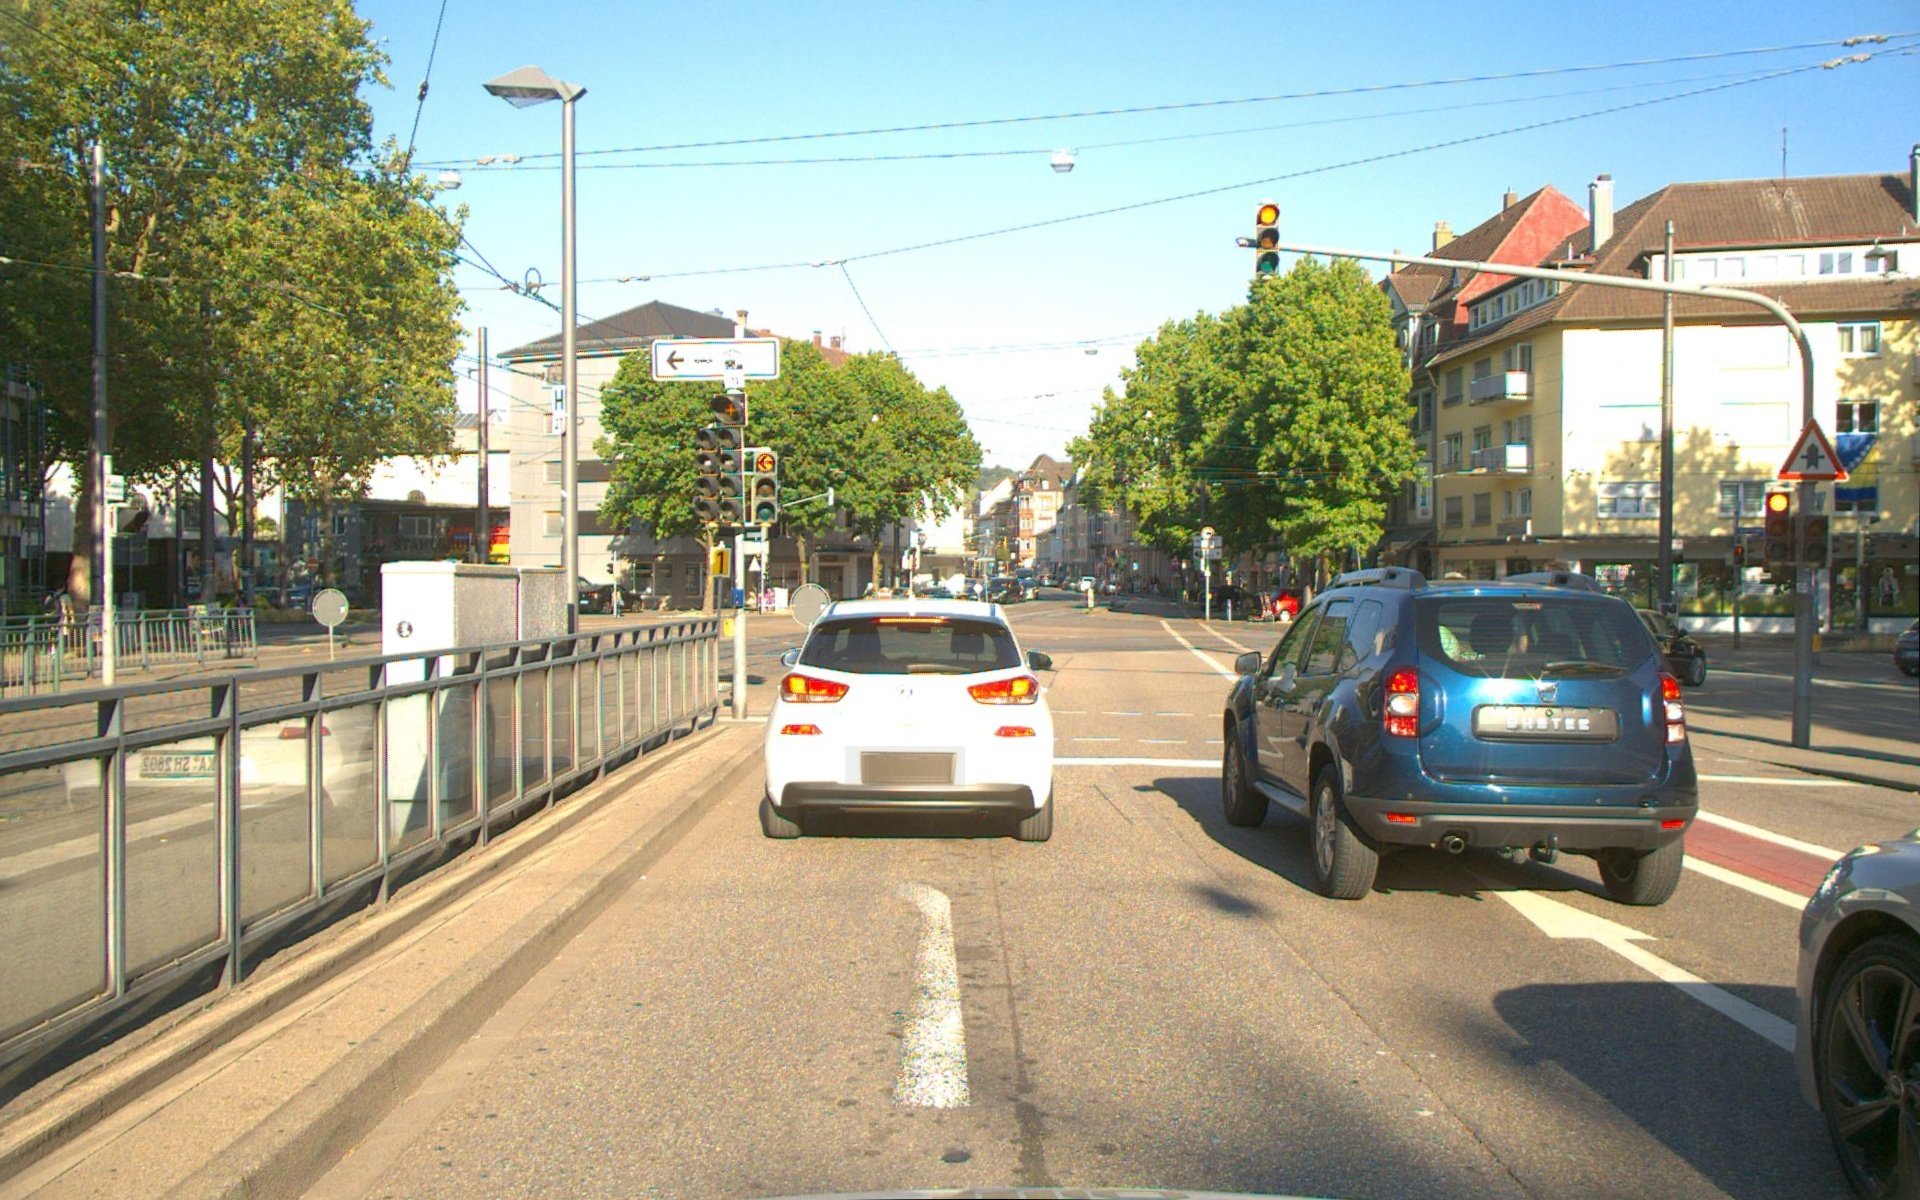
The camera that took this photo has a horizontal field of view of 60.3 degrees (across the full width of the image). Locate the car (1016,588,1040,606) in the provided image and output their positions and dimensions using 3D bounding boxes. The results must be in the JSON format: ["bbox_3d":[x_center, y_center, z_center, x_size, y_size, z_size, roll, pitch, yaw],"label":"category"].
[{"bbox_3d":[5.830,-0.260,142.260,1.758,1.536,3.999,0,0,-2],"label":"car"}]

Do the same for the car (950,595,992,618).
[{"bbox_3d":[0.757,0.445,112.148,1.756,1.537,4.002,0,0,18],"label":"car"}]

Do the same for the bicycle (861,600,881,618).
[{"bbox_3d":[-5.042,0.510,93.651,0.458,0.973,1.767,0,0,22],"label":"bicycle"}]

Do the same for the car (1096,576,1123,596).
[{"bbox_3d":[14.068,-1.327,156.005,2.062,1.807,4.340,0,0,-1],"label":"car"}]

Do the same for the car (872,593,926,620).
[{"bbox_3d":[-3.578,0.376,98.043,1.689,1.537,3.874,0,0,24],"label":"car"}]

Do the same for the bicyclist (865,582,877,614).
[{"bbox_3d":[-5.039,-0.106,93.653,0.458,1.776,0.717,0,0,22],"label":"bicyclist"}]

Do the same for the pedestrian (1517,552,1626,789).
[{"bbox_3d":[5.011,0.562,13.587,0.643,1.904,0.677,0,0,-1],"label":"pedestrian"}]

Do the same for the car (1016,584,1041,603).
[{"bbox_3d":[5.575,-0.520,134.262,1.758,1.536,3.999,0,0,-2],"label":"car"}]

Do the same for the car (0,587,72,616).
[{"bbox_3d":[-52.080,0.074,92.882,3.904,1.537,1.800,0,0,20],"label":"car"}]

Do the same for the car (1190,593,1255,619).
[{"bbox_3d":[15.614,0.336,98.223,3.967,1.537,1.772,0,0,-43],"label":"car"}]

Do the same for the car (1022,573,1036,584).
[{"bbox_3d":[9.963,-3.103,238.194,1.758,1.537,3.999,0,0,-1],"label":"car"}]

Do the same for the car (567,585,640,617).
[{"bbox_3d":[-19.140,0.059,88.983,1.881,1.677,4.181,0,0,20],"label":"car"}]

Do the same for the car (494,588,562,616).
[{"bbox_3d":[-23.894,0.093,91.645,1.756,1.537,4.012,0,0,18],"label":"car"}]

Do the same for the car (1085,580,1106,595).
[{"bbox_3d":[13.303,-1.230,162.523,1.758,1.537,3.999,0,0,-1],"label":"car"}]

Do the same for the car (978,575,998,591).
[{"bbox_3d":[2.627,-1.632,157.136,1.758,1.536,3.999,0,0,-2],"label":"car"}]

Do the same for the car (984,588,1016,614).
[{"bbox_3d":[2.914,0.067,119.611,1.756,1.858,4.004,0,0,9],"label":"car"}]

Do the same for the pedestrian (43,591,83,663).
[{"bbox_3d":[-19.956,0.592,36.784,0.524,1.579,0.677,0,0,-1],"label":"pedestrian"}]

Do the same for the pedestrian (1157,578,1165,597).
[{"bbox_3d":[17.948,-1.152,147.512,0.634,1.680,0.651,1,-1,10],"label":"pedestrian"}]

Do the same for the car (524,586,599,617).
[{"bbox_3d":[-21.554,0.061,89.659,1.760,1.677,4.004,0,0,28],"label":"car"}]

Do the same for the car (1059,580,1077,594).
[{"bbox_3d":[12.264,-1.453,187.907,1.758,1.549,3.999,0,0,-1],"label":"car"}]

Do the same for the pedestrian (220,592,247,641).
[{"bbox_3d":[-25.335,0.557,57.663,0.634,1.690,0.650,0,0,2],"label":"pedestrian"}]

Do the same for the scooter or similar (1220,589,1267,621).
[{"bbox_3d":[11.573,0.199,67.537,1.915,1.303,0.550,0,0,41],"label":"scooter or similar"}]

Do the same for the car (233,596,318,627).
[{"bbox_3d":[-35.733,0.600,86.337,3.904,1.537,1.800,0,0,20],"label":"car"}]

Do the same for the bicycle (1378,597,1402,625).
[{"bbox_3d":[17.565,0.432,67.598,0.596,1.127,1.801,0,0,4],"label":"bicycle"}]

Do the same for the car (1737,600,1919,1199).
[{"bbox_3d":[3.228,0.773,2.386,1.890,1.498,4.854,0,0,-1],"label":"car"}]

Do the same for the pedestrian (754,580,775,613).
[{"bbox_3d":[-10.740,-0.171,90.844,0.820,1.802,0.782,0,0,25],"label":"pedestrian"}]

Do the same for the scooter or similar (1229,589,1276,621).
[{"bbox_3d":[12.023,0.213,68.093,1.915,1.303,0.550,0,0,41],"label":"scooter or similar"}]

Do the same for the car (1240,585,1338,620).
[{"bbox_3d":[14.605,0.116,73.585,3.913,1.537,1.796,0,0,-9],"label":"car"}]

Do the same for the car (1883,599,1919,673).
[{"bbox_3d":[22.126,0.787,35.326,3.910,1.536,1.798,0,1,-6],"label":"car"}]

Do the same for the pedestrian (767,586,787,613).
[{"bbox_3d":[-10.202,-0.031,92.411,0.786,1.510,0.861,0,0,25],"label":"pedestrian"}]

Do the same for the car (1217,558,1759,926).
[{"bbox_3d":[2.721,0.635,9.551,1.764,1.666,4.044,0,0,-1],"label":"car"}]

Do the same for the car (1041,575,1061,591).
[{"bbox_3d":[11.675,-2.132,212.920,2.280,2.049,4.975,0,0,-1],"label":"car"}]

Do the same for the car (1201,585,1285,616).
[{"bbox_3d":[14.361,0.033,83.996,3.910,1.537,1.798,0,0,-7],"label":"car"}]

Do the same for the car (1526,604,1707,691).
[{"bbox_3d":[12.336,0.829,30.948,1.775,1.464,4.018,2,1,43],"label":"car"}]

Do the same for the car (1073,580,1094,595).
[{"bbox_3d":[12.564,-1.286,168.674,1.758,1.537,3.999,0,0,-1],"label":"car"}]

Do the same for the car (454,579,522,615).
[{"bbox_3d":[-26.353,-0.169,92.514,1.756,1.990,4.002,0,0,18],"label":"car"}]

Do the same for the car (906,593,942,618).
[{"bbox_3d":[-2.271,0.370,104.051,1.756,1.537,4.003,0,0,6],"label":"car"}]

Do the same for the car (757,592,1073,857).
[{"bbox_3d":[-0.292,0.701,11.364,1.771,1.478,3.999,1,0,-1],"label":"car"}]

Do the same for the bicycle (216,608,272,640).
[{"bbox_3d":[-25.179,0.835,58.144,1.757,1.127,0.500,0,0,2],"label":"bicycle"}]

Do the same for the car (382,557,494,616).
[{"bbox_3d":[-29.431,-0.760,93.471,2.445,3.220,6.534,0,0,22],"label":"car"}]
